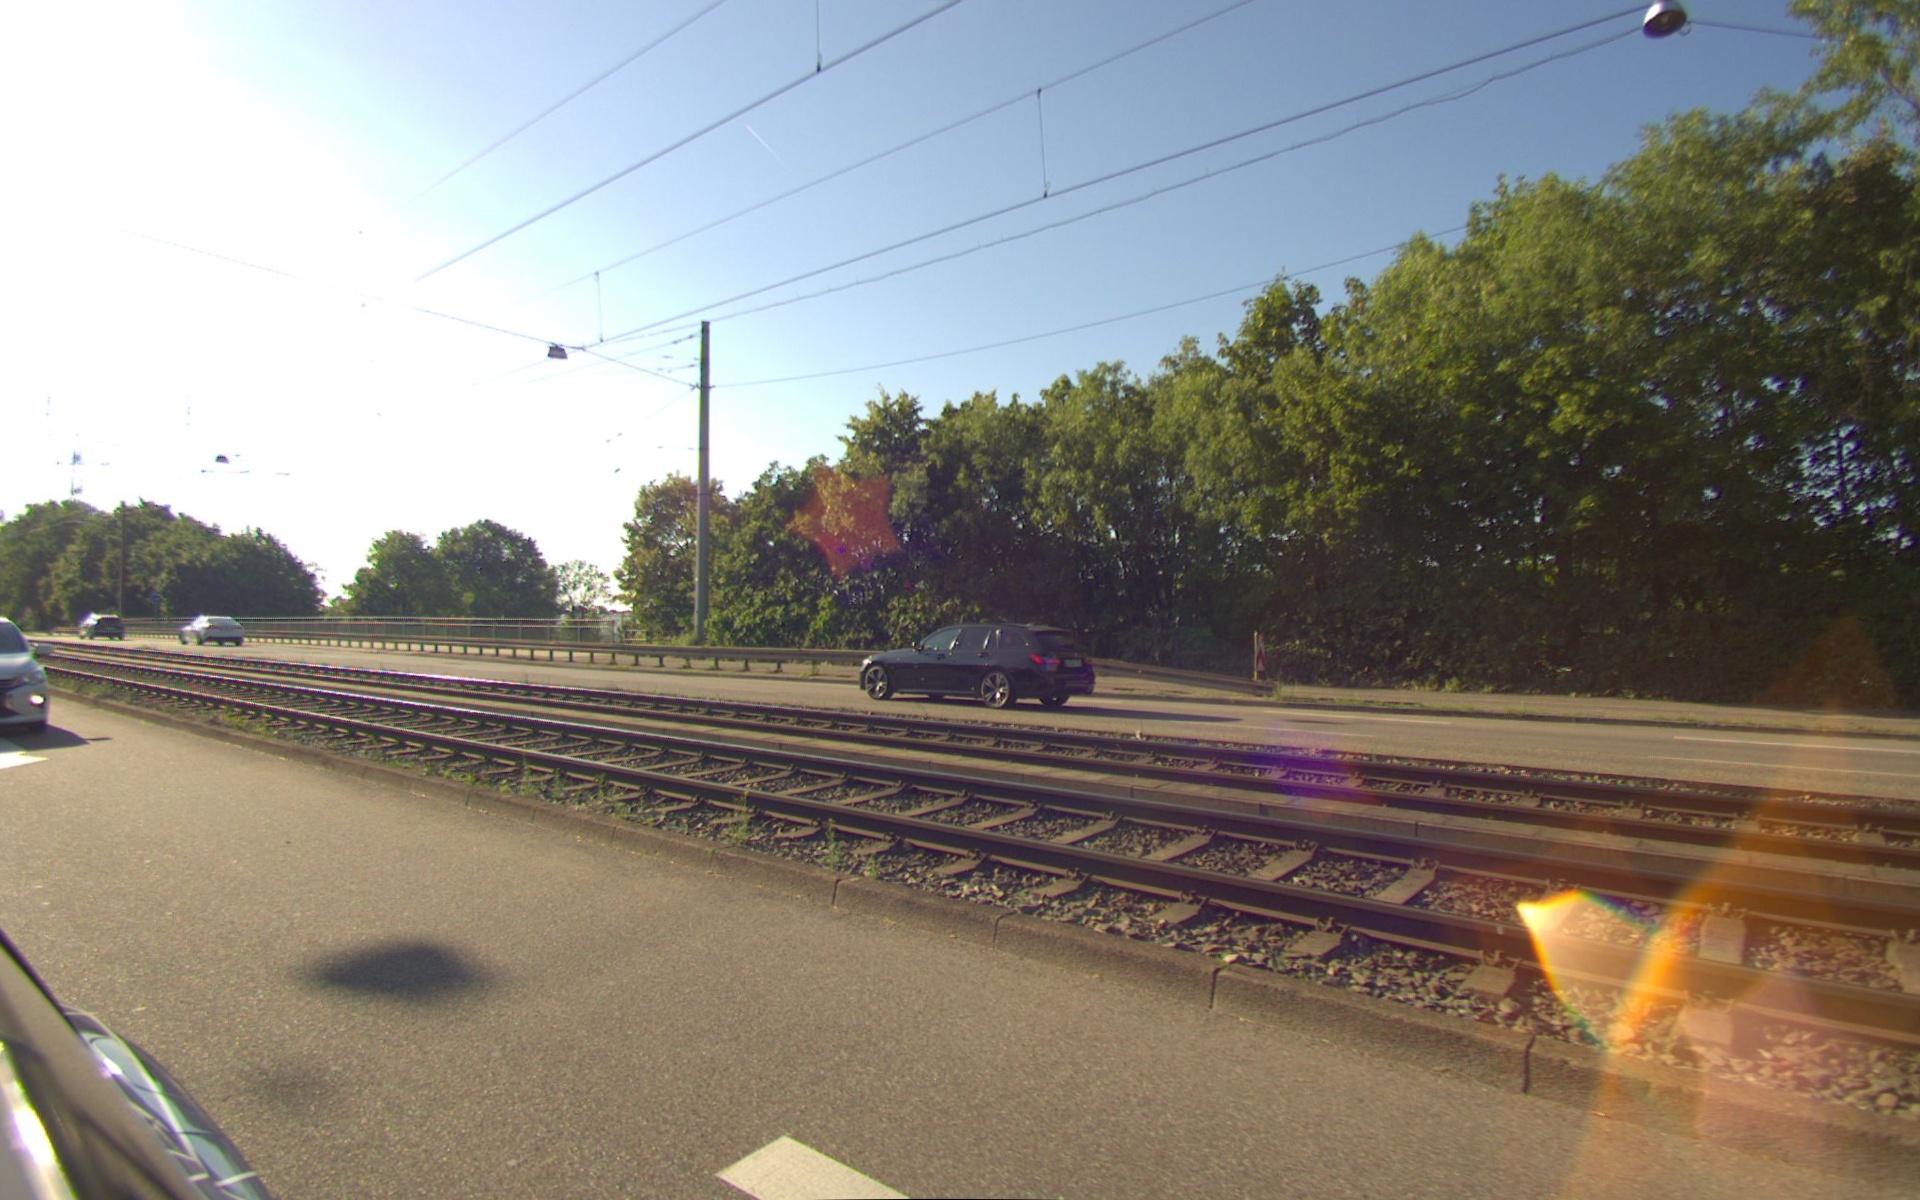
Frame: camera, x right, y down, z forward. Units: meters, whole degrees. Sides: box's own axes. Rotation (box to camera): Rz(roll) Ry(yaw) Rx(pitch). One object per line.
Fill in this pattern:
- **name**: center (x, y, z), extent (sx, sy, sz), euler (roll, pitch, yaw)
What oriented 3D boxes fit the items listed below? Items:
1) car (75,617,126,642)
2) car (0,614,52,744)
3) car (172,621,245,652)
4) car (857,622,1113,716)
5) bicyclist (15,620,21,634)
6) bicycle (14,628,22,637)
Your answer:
- **car**: center (-56.882, 1.927, 66.960), extent (4.796, 1.592, 1.692), euler (-1, -2, 39)
- **car**: center (-13.043, 0.951, 12.917), extent (3.860, 1.523, 1.687), euler (-1, 0, 41)
- **car**: center (-38.081, 1.839, 51.242), extent (4.872, 1.425, 1.737), euler (0, -4, 39)
- **car**: center (0.338, 1.151, 17.861), extent (4.499, 1.443, 1.640), euler (-1, -3, 41)
- **bicyclist**: center (-114.781, 3.301, 123.298), extent (0.832, 1.764, 0.492), euler (-1, -1, 39)
- **bicycle**: center (-114.836, 3.934, 123.350), extent (1.726, 1.060, 0.499), euler (-1, 0, 40)
